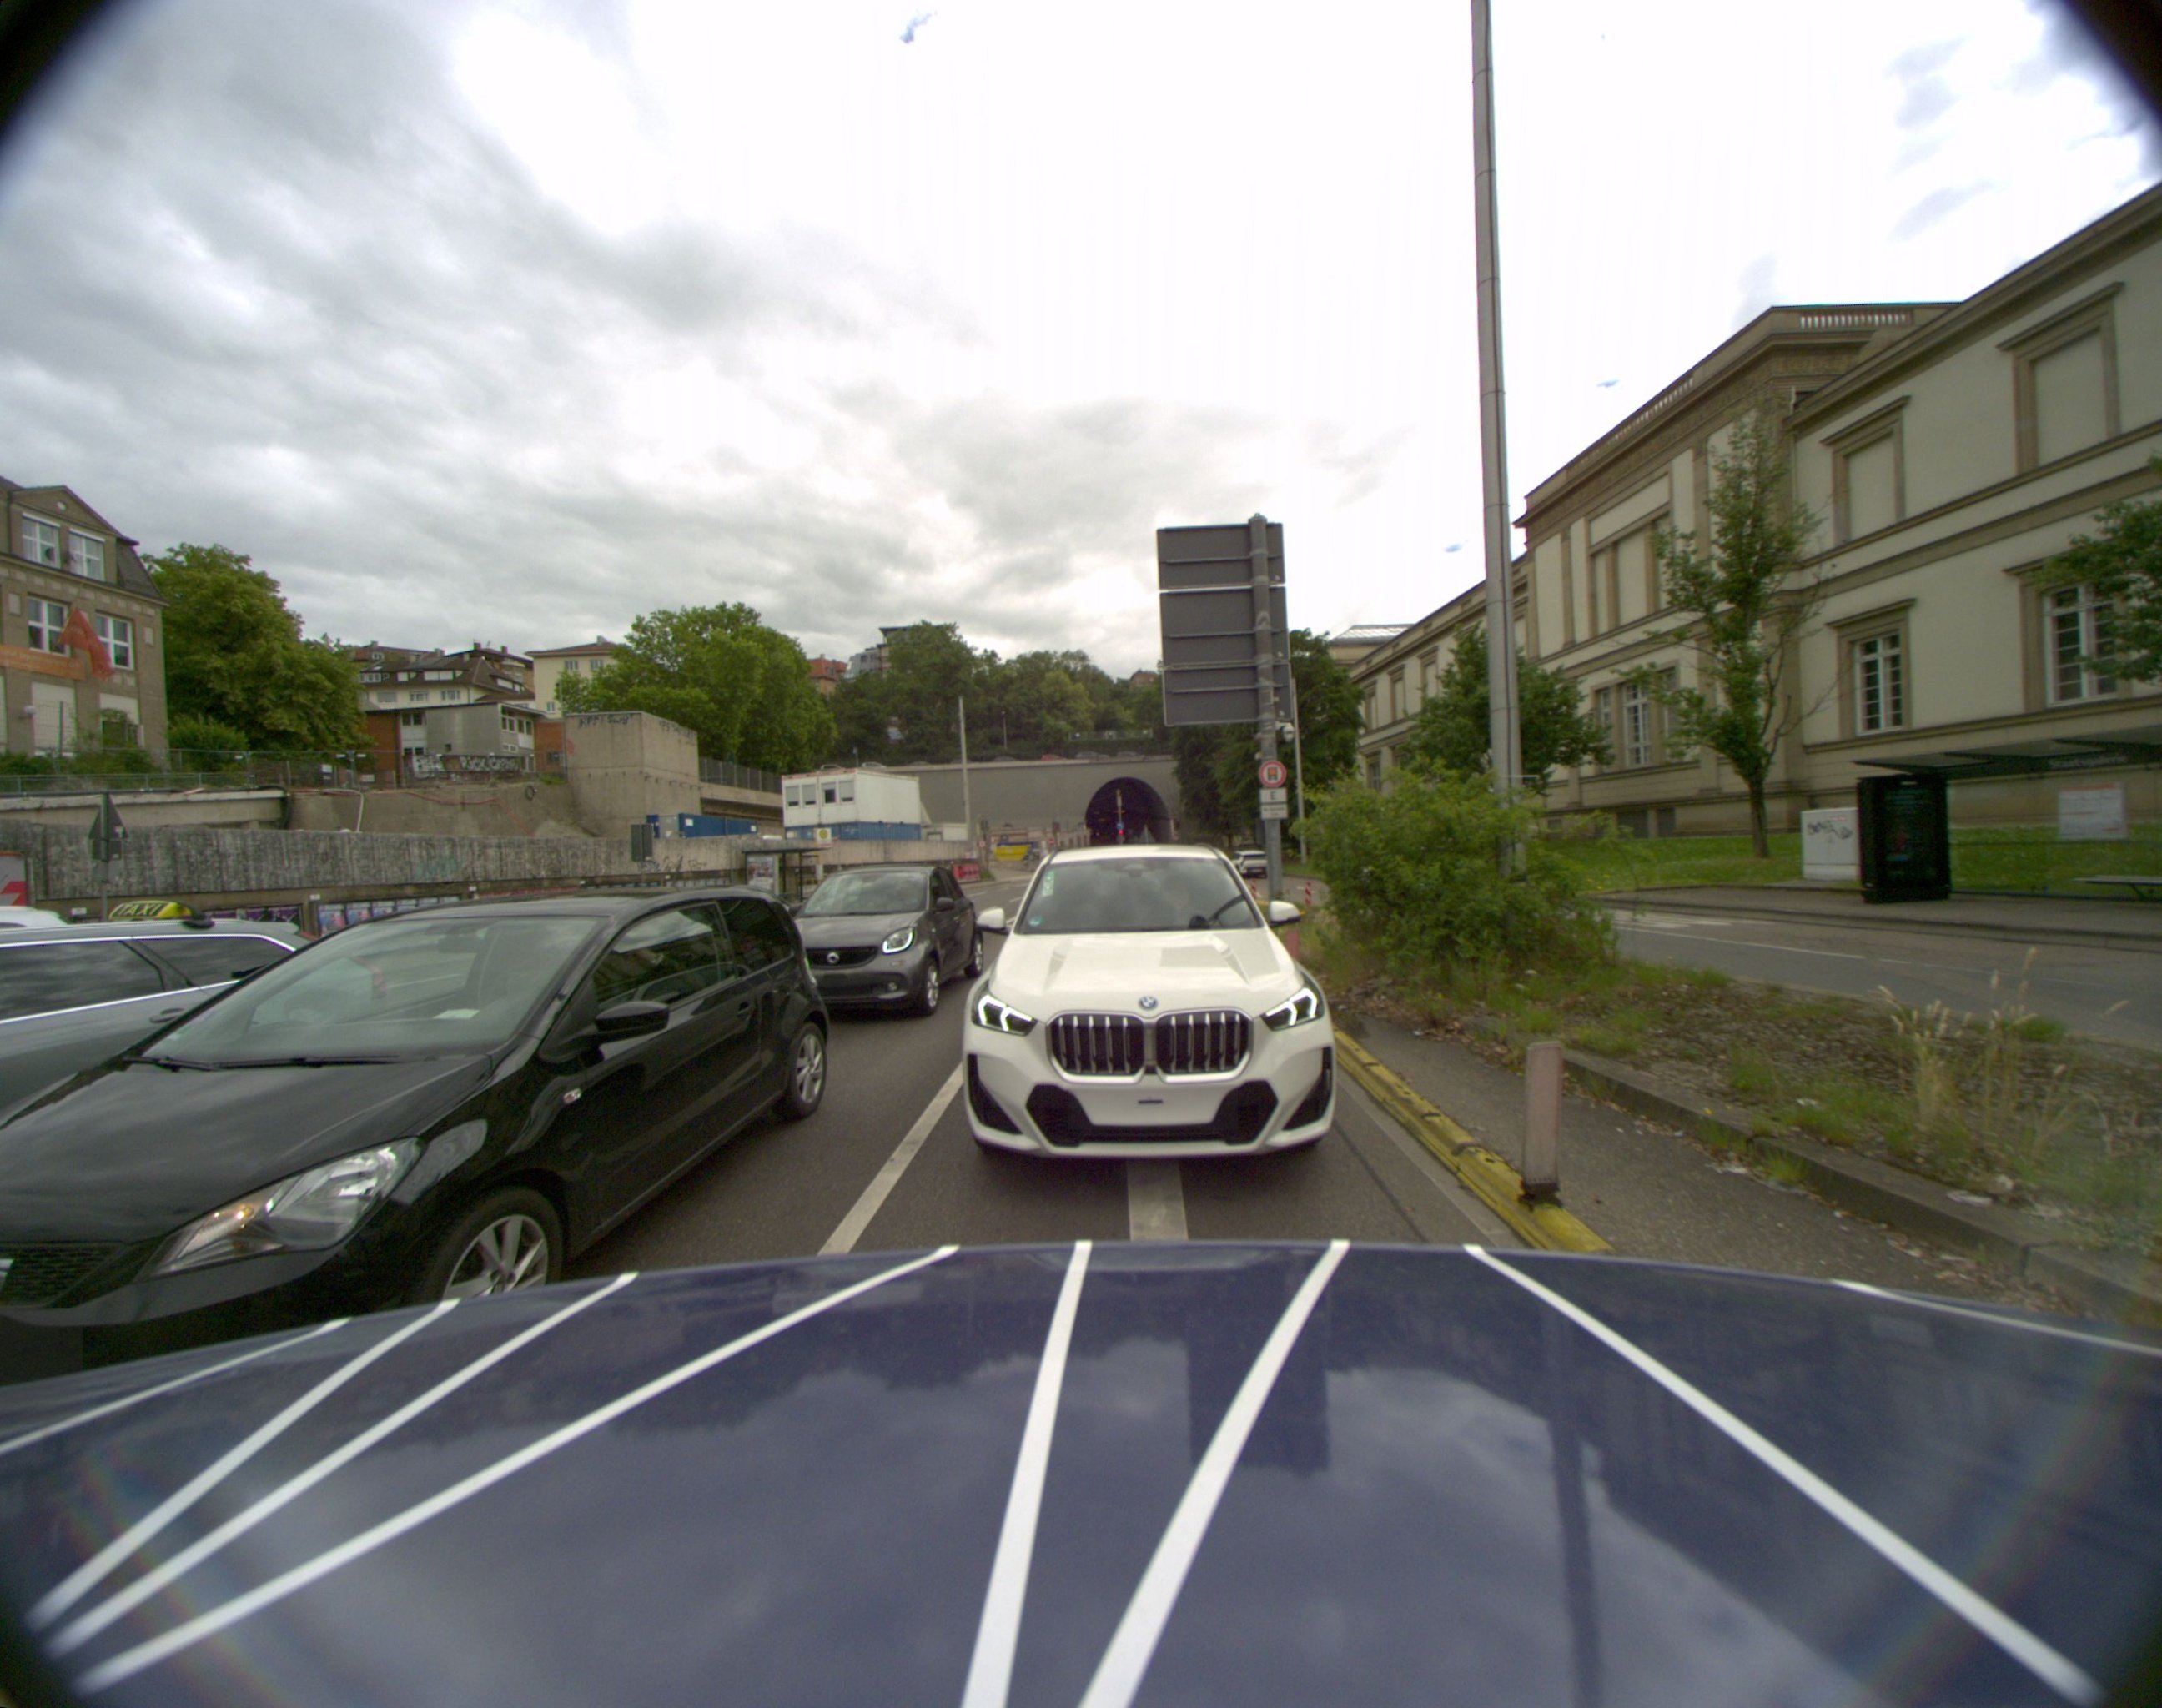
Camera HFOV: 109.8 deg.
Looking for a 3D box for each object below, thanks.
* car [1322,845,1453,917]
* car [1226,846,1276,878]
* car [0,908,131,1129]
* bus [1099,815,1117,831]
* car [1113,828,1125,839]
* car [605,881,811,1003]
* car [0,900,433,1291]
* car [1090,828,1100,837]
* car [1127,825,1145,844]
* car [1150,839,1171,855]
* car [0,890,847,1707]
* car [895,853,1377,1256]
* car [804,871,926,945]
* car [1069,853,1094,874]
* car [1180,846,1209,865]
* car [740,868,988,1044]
[{"bbox_3d":[7.810,0.636,19.823,1.903,1.615,4.108,-2,0,3],"label":"car"},{"bbox_3d":[9.687,0.412,43.592,1.875,1.681,4.267,-2,1,0],"label":"car"},{"bbox_3d":[-9.108,1.329,4.453,1.680,1.615,4.209,-2,1,1],"label":"car"},{"bbox_3d":[5.742,-6.621,163.892,3.171,3.129,9.118,-2,1,-1],"label":"bus"},{"bbox_3d":[6.667,-3.499,131.639,1.946,1.714,4.001,-2,1,4],"label":"car"},{"bbox_3d":[-5.397,1.205,11.377,1.665,1.423,2.714,-2,1,1],"label":"car"},{"bbox_3d":[-5.857,1.216,3.312,1.829,1.615,4.808,-2,1,1],"label":"car"},{"bbox_3d":[2.579,-3.893,138.269,1.680,1.358,3.806,-2,1,1],"label":"car"},{"bbox_3d":[7.446,-2.647,103.099,2.203,2.493,4.758,-2,1,2],"label":"car"},{"bbox_3d":[8.540,-0.788,81.597,1.778,1.609,3.802,-2,1,-1],"label":"car"},{"bbox_3d":[-2.572,1.026,3.352,1.829,1.450,3.700,-2,1,1],"label":"car"},{"bbox_3d":[0.262,0.856,5.061,1.987,1.615,3.670,-2,1,1],"label":"car"},{"bbox_3d":[-4.921,1.178,17.822,1.680,1.358,3.806,-2,1,1],"label":"car"},{"bbox_3d":[0.100,0.664,58.017,1.680,1.450,3.807,-2,1,3],"label":"car"},{"bbox_3d":[9.153,0.124,61.483,1.646,1.469,3.574,-2,0,-2],"label":"car"},{"bbox_3d":[-2.255,0.990,8.901,1.720,1.535,3.575,-2,0,2],"label":"car"}]
